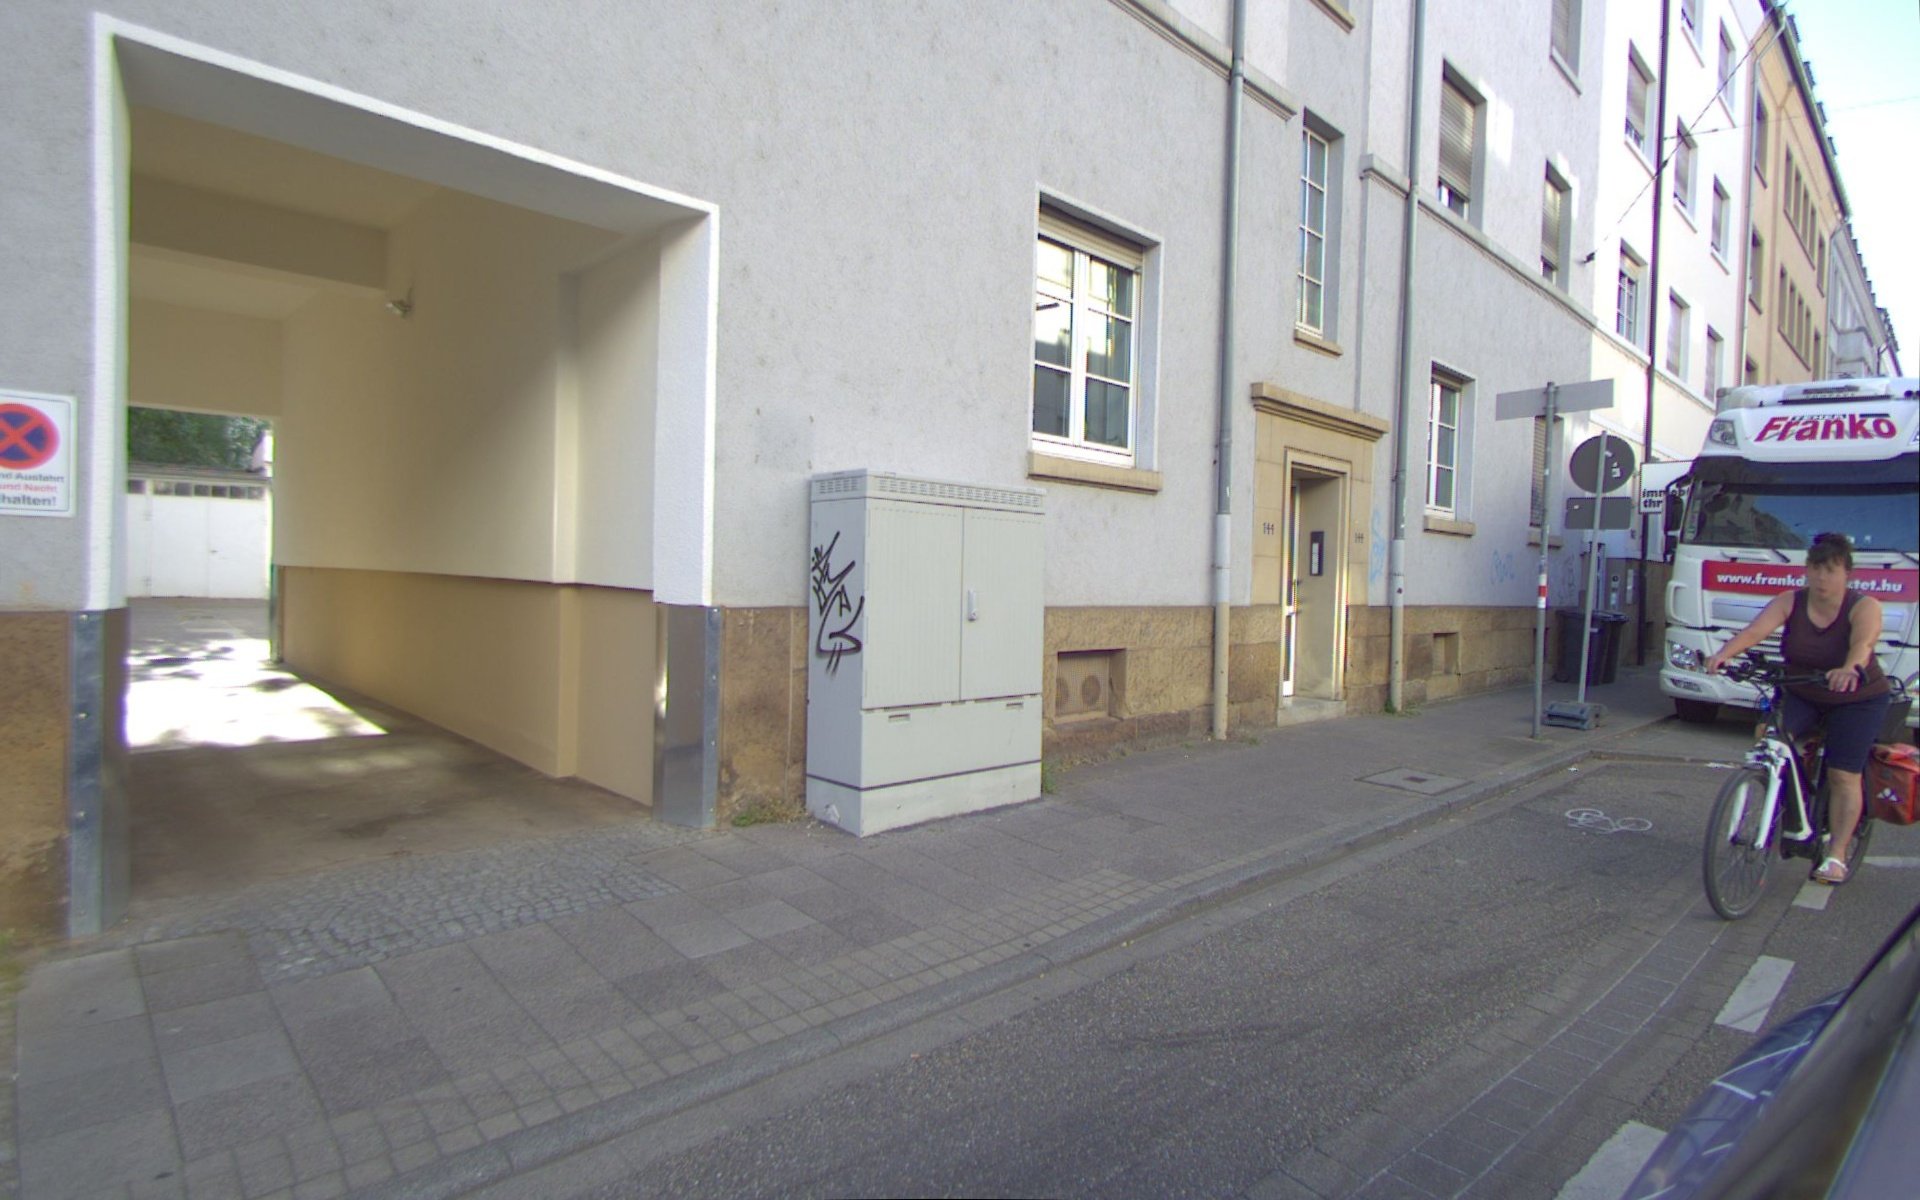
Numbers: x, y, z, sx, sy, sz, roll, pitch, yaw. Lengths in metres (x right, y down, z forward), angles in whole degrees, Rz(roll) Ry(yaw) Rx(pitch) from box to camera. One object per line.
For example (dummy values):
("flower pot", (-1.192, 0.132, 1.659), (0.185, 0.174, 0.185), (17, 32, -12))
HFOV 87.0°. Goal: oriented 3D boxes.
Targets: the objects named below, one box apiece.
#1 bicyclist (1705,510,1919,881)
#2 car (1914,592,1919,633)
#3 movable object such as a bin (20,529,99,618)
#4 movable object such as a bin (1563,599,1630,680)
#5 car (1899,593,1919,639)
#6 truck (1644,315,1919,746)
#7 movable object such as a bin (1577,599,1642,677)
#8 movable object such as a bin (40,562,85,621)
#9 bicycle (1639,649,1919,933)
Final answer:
("bicyclist", (4.214, 0.419, 4.940), (0.744, 1.650, 0.620), (1, 1, -27))
("car", (37.680, 0.467, 38.630), (4.080, 1.551, 1.681), (0, 0, -44))
("movable object such as a bin", (-15.149, -0.450, 17.018), (0.946, 1.426, 1.597), (0, 2, -43))
("movable object such as a bin", (9.175, 0.555, 14.588), (0.560, 1.107, 0.665), (0, 2, -43))
("car", (33.510, 0.534, 34.733), (4.080, 1.551, 1.681), (0, 0, -44))
("truck", (12.580, -0.675, 13.881), (11.621, 3.975, 2.778), (0, 2, -44))
("movable object such as a bin", (9.655, 0.547, 15.039), (0.560, 1.107, 0.665), (0, 2, -43))
("movable object such as a bin", (-14.372, -0.143, 16.200), (0.518, 0.922, 0.580), (0, 2, -43))
("bicycle", (4.193, 0.834, 4.939), (1.847, 1.117, 0.620), (1, 1, -28))
